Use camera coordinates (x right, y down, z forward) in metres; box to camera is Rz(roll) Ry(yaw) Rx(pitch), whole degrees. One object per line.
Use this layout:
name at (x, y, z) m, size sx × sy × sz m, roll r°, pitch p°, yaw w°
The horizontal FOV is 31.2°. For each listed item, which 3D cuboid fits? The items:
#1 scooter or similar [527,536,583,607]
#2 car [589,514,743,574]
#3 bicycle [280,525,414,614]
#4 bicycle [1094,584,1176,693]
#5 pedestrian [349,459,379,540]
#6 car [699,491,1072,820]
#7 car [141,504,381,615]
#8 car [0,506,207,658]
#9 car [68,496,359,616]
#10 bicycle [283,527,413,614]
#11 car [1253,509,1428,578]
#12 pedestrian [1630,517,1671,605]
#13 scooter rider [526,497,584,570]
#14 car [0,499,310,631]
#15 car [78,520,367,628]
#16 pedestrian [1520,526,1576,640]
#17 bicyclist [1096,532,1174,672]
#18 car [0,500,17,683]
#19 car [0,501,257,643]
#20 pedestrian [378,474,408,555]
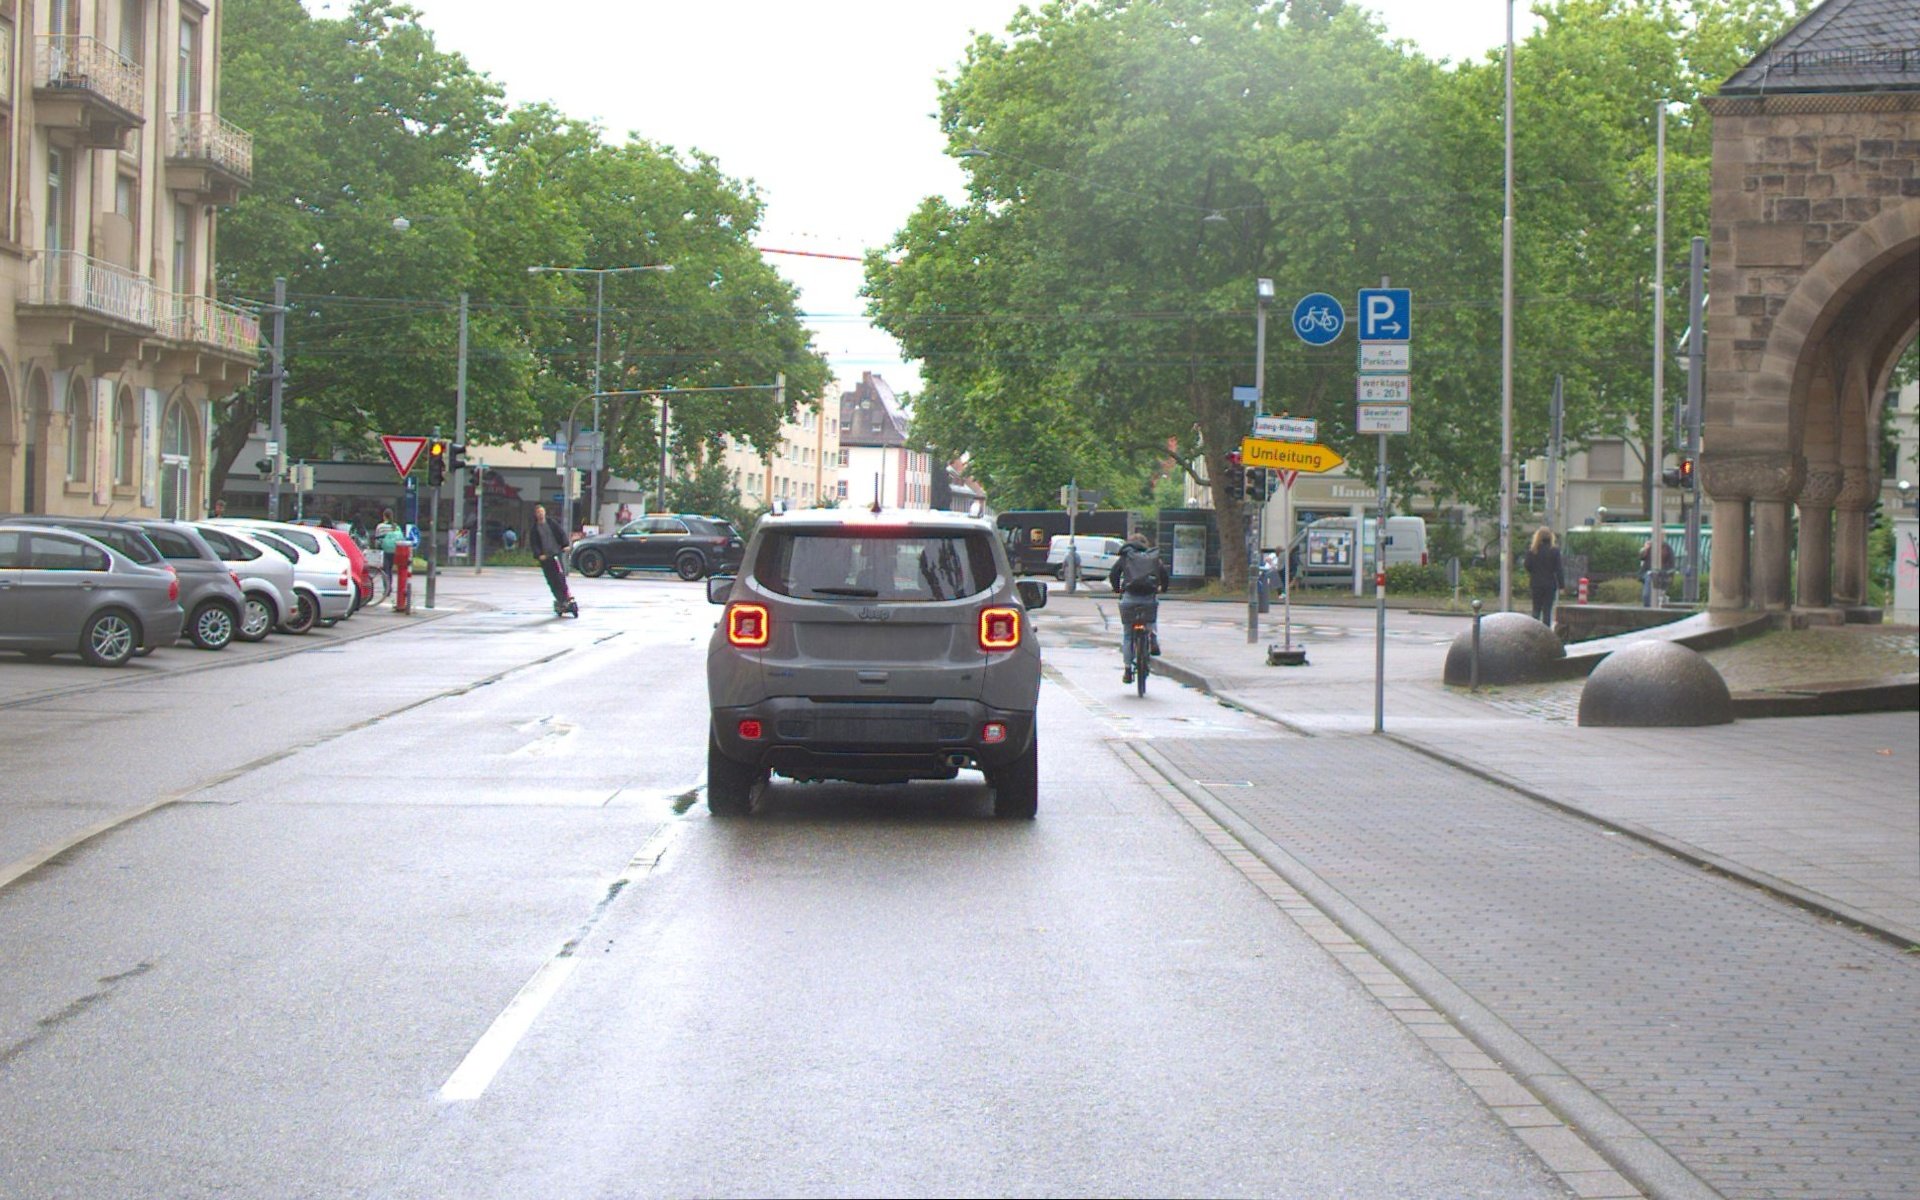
scooter or similar at (-7.038, -0.486, 59.763) m, size 0.851 × 1.208 × 0.986 m, roll 1°, pitch -1°, yaw -1°
car at (-8.032, -1.534, 93.935) m, size 3.883 × 1.606 × 1.540 m, roll 1°, pitch 1°, yaw 19°
bicycle at (-10.121, -0.505, 56.783) m, size 2.109 × 1.439 × 0.539 m, roll 0°, pitch 1°, yaw -21°
bicycle at (1.772, 0.380, 35.000) m, size 0.705 × 1.050 × 1.813 m, roll 1°, pitch 1°, yaw -1°
pedestrian at (-11.809, -1.994, 68.132) m, size 0.467 × 1.580 × 0.659 m, roll 1°, pitch 1°, yaw -2°
car at (-0.467, 0.254, 19.993) m, size 1.898 × 1.665 × 4.506 m, roll 1°, pitch 1°, yaw -2°
car at (-10.822, -0.624, 53.279) m, size 3.245 × 1.553 × 1.535 m, roll 3°, pitch 0°, yaw -34°
car at (-9.964, -0.223, 35.381) m, size 3.843 × 1.474 × 1.885 m, roll 2°, pitch 0°, yaw -42°
car at (-10.836, -0.631, 49.974) m, size 3.730 × 1.553 × 1.672 m, roll 3°, pitch 0°, yaw -34°
bicycle at (-10.281, -0.493, 57.774) m, size 2.092 × 1.439 × 0.491 m, roll 0°, pitch 1°, yaw -21°
car at (13.172, -1.959, 119.235) m, size 5.904 × 2.326 × 2.059 m, roll 1°, pitch 1°, yaw 3°
pedestrian at (13.415, -0.759, 66.806) m, size 0.682 × 1.705 × 0.692 m, roll 1°, pitch 1°, yaw 18°
scooter rider at (-7.041, -1.145, 59.799) m, size 0.880 × 1.216 × 0.984 m, roll 1°, pitch -1°, yaw -1°
car at (-10.408, -0.445, 44.245) m, size 3.496 × 1.513 × 1.885 m, roll 3°, pitch 0°, yaw -34°
car at (-10.153, -0.358, 47.363) m, size 3.413 × 1.311 × 1.779 m, roll 3°, pitch 0°, yaw -34°
pedestrian at (8.924, -0.262, 52.200) m, size 0.690 × 1.705 × 0.684 m, roll 1°, pitch 1°, yaw -1°
bicyclist at (1.779, 0.008, 35.036) m, size 0.705 × 1.399 × 1.171 m, roll 1°, pitch 1°, yaw -1°
car at (-10.062, -0.165, 28.899) m, size 3.653 × 1.553 × 1.799 m, roll 3°, pitch 0°, yaw -37°
car at (-10.502, -0.348, 41.046) m, size 3.654 × 1.553 × 1.809 m, roll 3°, pitch 0°, yaw -37°
pedestrian at (-11.279, -1.698, 68.356) m, size 0.467 × 1.580 × 0.752 m, roll 1°, pitch 1°, yaw -2°
